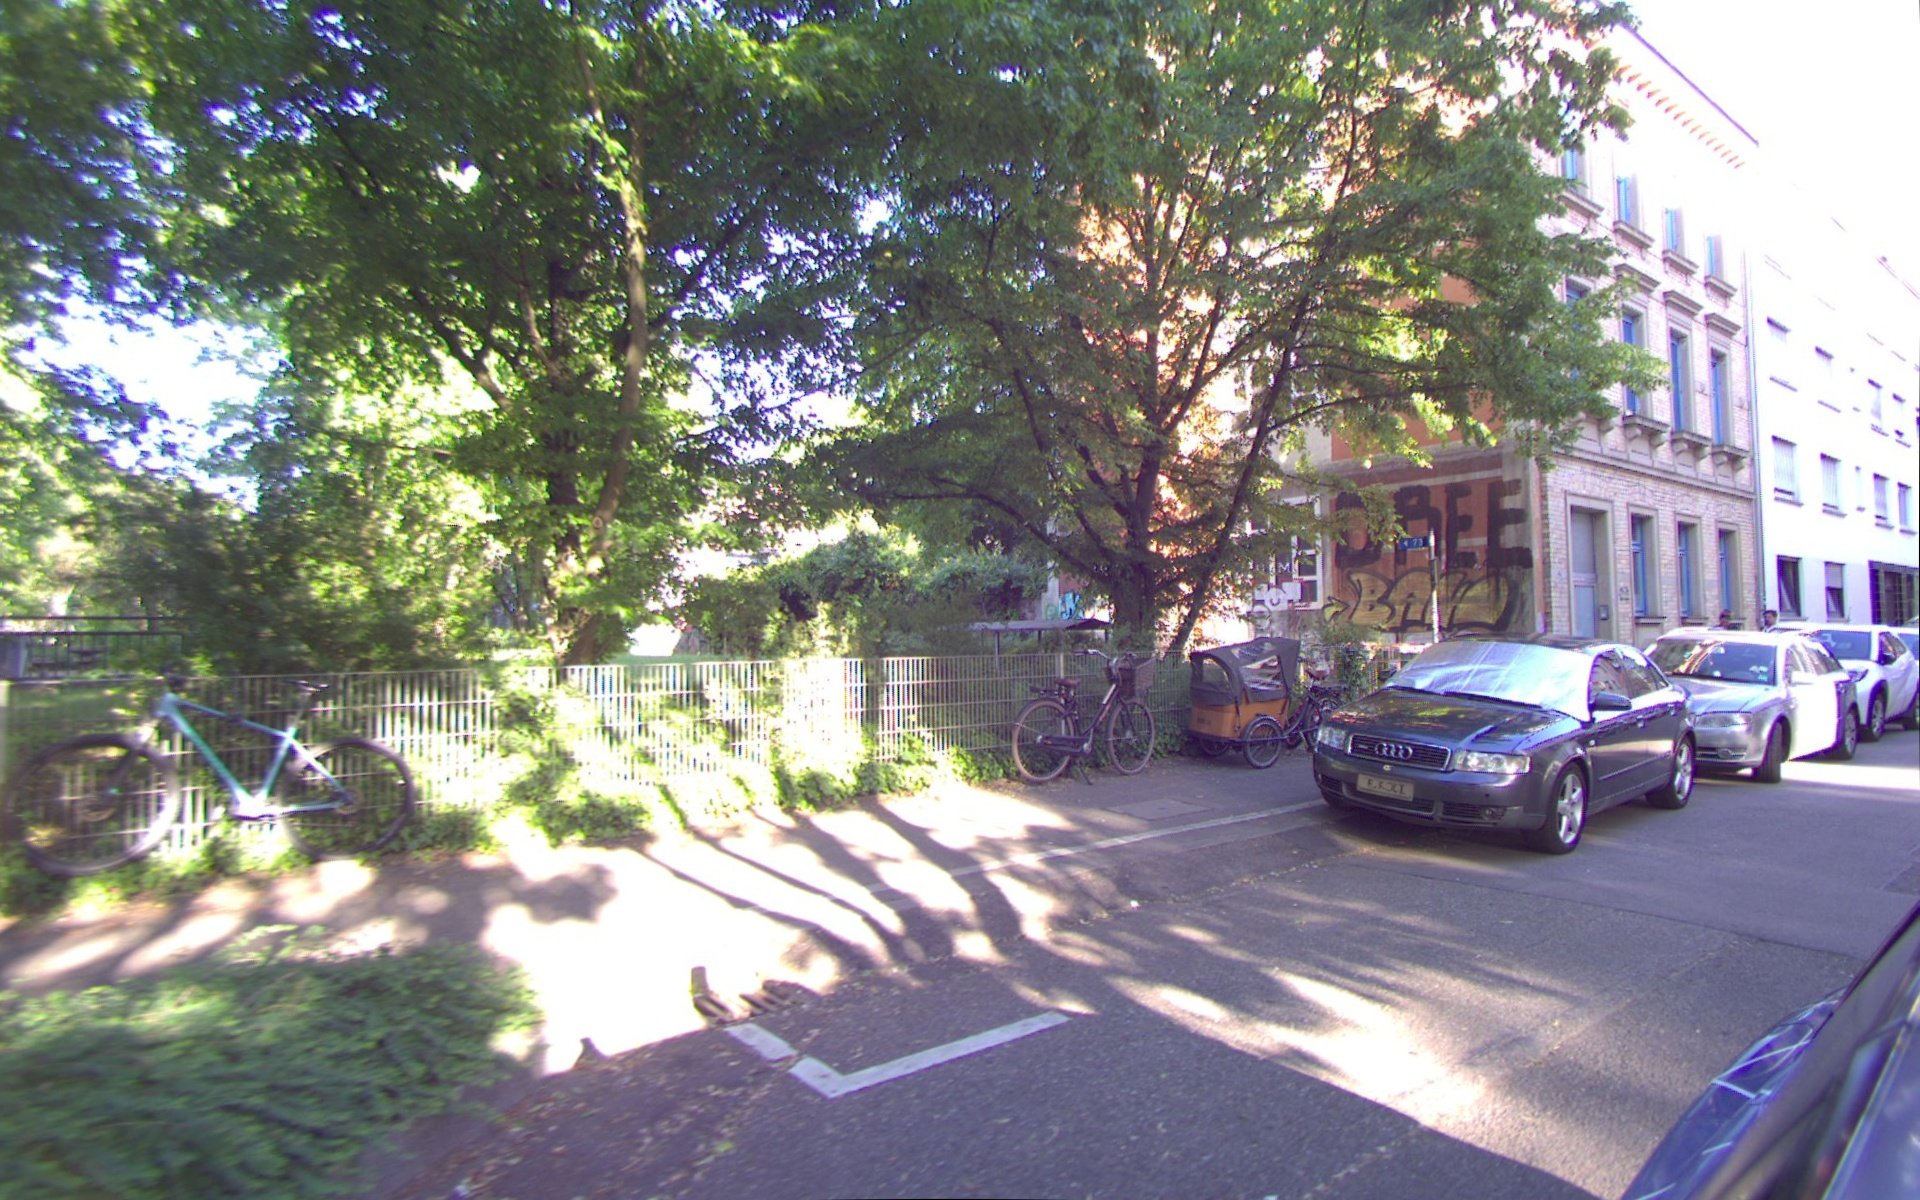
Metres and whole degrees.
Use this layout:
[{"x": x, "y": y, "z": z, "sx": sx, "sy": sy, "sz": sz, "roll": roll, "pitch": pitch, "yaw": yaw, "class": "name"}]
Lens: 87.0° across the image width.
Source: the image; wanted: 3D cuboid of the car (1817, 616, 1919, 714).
[{"x": 15.838, "y": 1.012, "z": 16.931, "sx": 3.931, "sy": 1.469, "sz": 1.597, "roll": 1, "pitch": 0, "yaw": -39, "class": "car"}]

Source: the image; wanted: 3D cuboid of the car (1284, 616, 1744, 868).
[{"x": 4.648, "y": 0.901, "z": 8.222, "sx": 4.333, "sy": 1.513, "sz": 1.725, "roll": 1, "pitch": -1, "yaw": -38, "class": "car"}]

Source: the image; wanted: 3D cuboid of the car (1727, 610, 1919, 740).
[{"x": 12.479, "y": 0.954, "z": 14.356, "sx": 3.693, "sy": 1.605, "sz": 1.598, "roll": 1, "pitch": -1, "yaw": -37, "class": "car"}]

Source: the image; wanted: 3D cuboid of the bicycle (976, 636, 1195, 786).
[{"x": 1.177, "y": 0.952, "z": 9.309, "sx": 1.944, "sy": 1.216, "sz": 0.849, "roll": 1, "pitch": -2, "yaw": -35, "class": "bicycle"}]

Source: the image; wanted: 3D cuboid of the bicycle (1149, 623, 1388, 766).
[{"x": 3.305, "y": 0.923, "z": 10.795, "sx": 2.282, "sy": 1.318, "sz": 1.295, "roll": 1, "pitch": 0, "yaw": -34, "class": "bicycle"}]

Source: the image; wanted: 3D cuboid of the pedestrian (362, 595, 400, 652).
[{"x": -20.863, "y": 0.845, "z": 36.490, "sx": 0.897, "sy": 2.039, "sz": 0.747, "roll": 0, "pitch": -1, "yaw": 10, "class": "pedestrian"}]

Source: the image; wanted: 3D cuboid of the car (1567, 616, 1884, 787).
[{"x": 8.509, "y": 0.947, "z": 11.130, "sx": 4.272, "sy": 1.513, "sz": 1.664, "roll": 1, "pitch": 0, "yaw": -37, "class": "car"}]

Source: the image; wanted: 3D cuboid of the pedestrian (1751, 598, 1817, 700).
[{"x": 14.476, "y": 0.841, "z": 17.785, "sx": 0.738, "sy": 1.730, "sz": 0.712, "roll": 1, "pitch": 1, "yaw": -37, "class": "pedestrian"}]

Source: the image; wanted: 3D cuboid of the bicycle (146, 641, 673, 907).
[{"x": -3.182, "y": 0.905, "z": 6.133, "sx": 2.640, "sy": 1.284, "sz": 0.849, "roll": 1, "pitch": -2, "yaw": -35, "class": "bicycle"}]

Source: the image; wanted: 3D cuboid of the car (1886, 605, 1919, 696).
[{"x": 19.746, "y": 0.960, "z": 19.625, "sx": 4.245, "sy": 1.688, "sz": 1.771, "roll": 1, "pitch": -1, "yaw": -35, "class": "car"}]

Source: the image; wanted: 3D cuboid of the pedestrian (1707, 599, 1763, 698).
[{"x": 14.044, "y": 0.859, "z": 18.344, "sx": 0.693, "sy": 1.730, "sz": 0.599, "roll": 1, "pitch": 1, "yaw": -37, "class": "pedestrian"}]

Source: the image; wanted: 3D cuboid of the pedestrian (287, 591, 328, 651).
[{"x": -22.477, "y": 0.715, "z": 34.874, "sx": 0.897, "sy": 2.039, "sz": 0.747, "roll": 0, "pitch": -1, "yaw": 10, "class": "pedestrian"}]
